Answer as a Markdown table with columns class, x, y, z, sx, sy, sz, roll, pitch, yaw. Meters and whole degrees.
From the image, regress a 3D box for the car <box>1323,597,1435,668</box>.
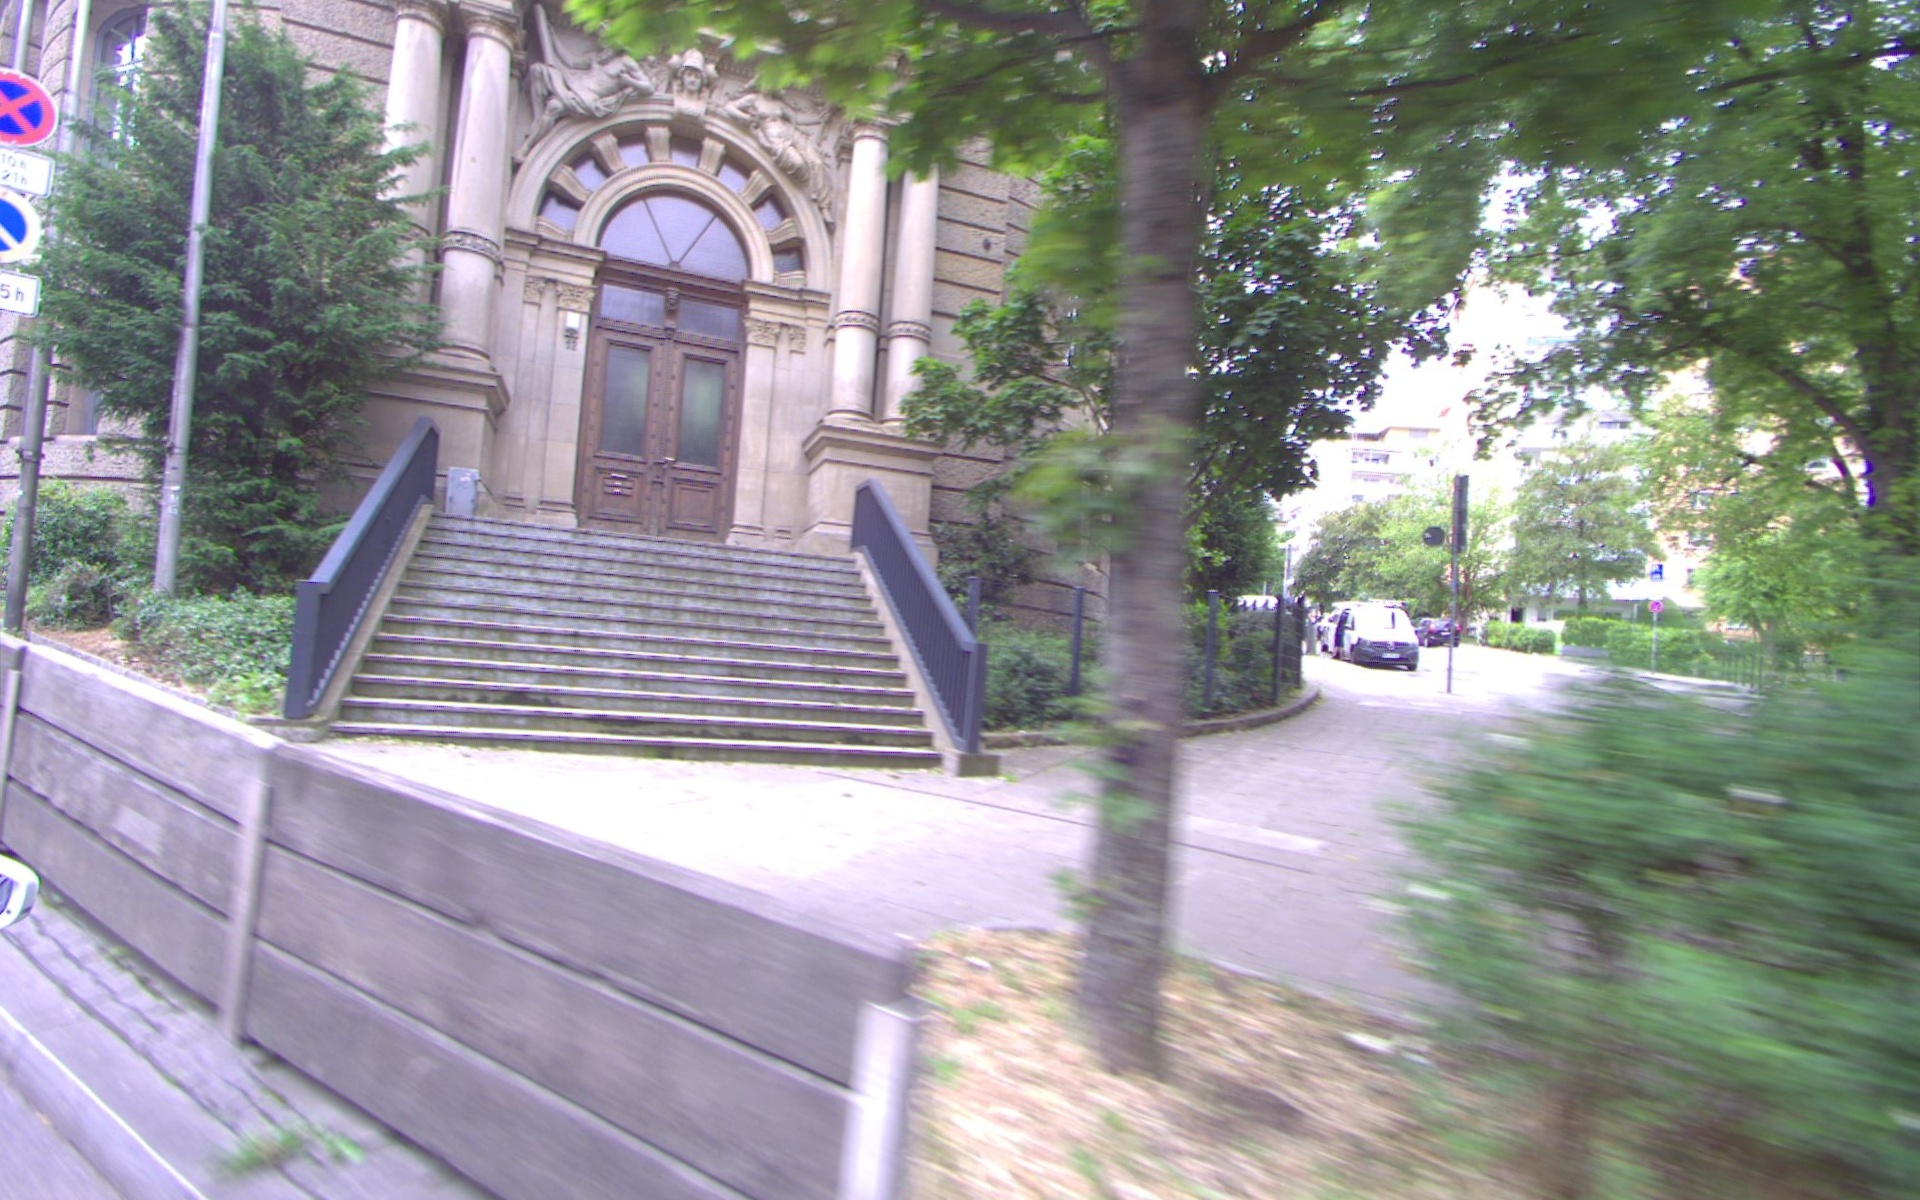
| class | x | y | z | sx | sy | sz | roll | pitch | yaw |
| --- | --- | --- | --- | --- | --- | --- | --- | --- | --- |
| car | 13.340 | 0.955 | 32.392 | 2.136 | 1.959 | 5.216 | 4 | 1 | 10 |

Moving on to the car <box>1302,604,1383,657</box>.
| class | x | y | z | sx | sy | sz | roll | pitch | yaw |
| --- | --- | --- | --- | --- | --- | --- | --- | --- | --- |
| car | 14.994 | 1.158 | 39.753 | 1.962 | 1.777 | 4.890 | 6 | 1 | 10 |

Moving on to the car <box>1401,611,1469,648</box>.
| class | x | y | z | sx | sy | sz | roll | pitch | yaw |
| --- | --- | --- | --- | --- | --- | --- | --- | --- | --- |
| car | 27.226 | 1.652 | 57.795 | 1.962 | 1.777 | 4.889 | 6 | 1 | 8 |

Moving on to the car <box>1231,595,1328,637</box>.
| class | x | y | z | sx | sy | sz | roll | pitch | yaw |
| --- | --- | --- | --- | --- | --- | --- | --- | --- | --- |
| car | 17.938 | 0.915 | 56.715 | 4.796 | 1.756 | 2.001 | 7 | 0 | 8 |

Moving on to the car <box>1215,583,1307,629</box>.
| class | x | y | z | sx | sy | sz | roll | pitch | yaw |
| --- | --- | --- | --- | --- | --- | --- | --- | --- | --- |
| car | 22.231 | 0.452 | 74.547 | 6.080 | 2.669 | 2.001 | 7 | 0 | 10 |

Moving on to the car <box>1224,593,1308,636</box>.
| class | x | y | z | sx | sy | sz | roll | pitch | yaw |
| --- | --- | --- | --- | --- | --- | --- | --- | --- | --- |
| car | 20.152 | 0.949 | 66.440 | 4.796 | 2.245 | 2.001 | 7 | 0 | 8 |
